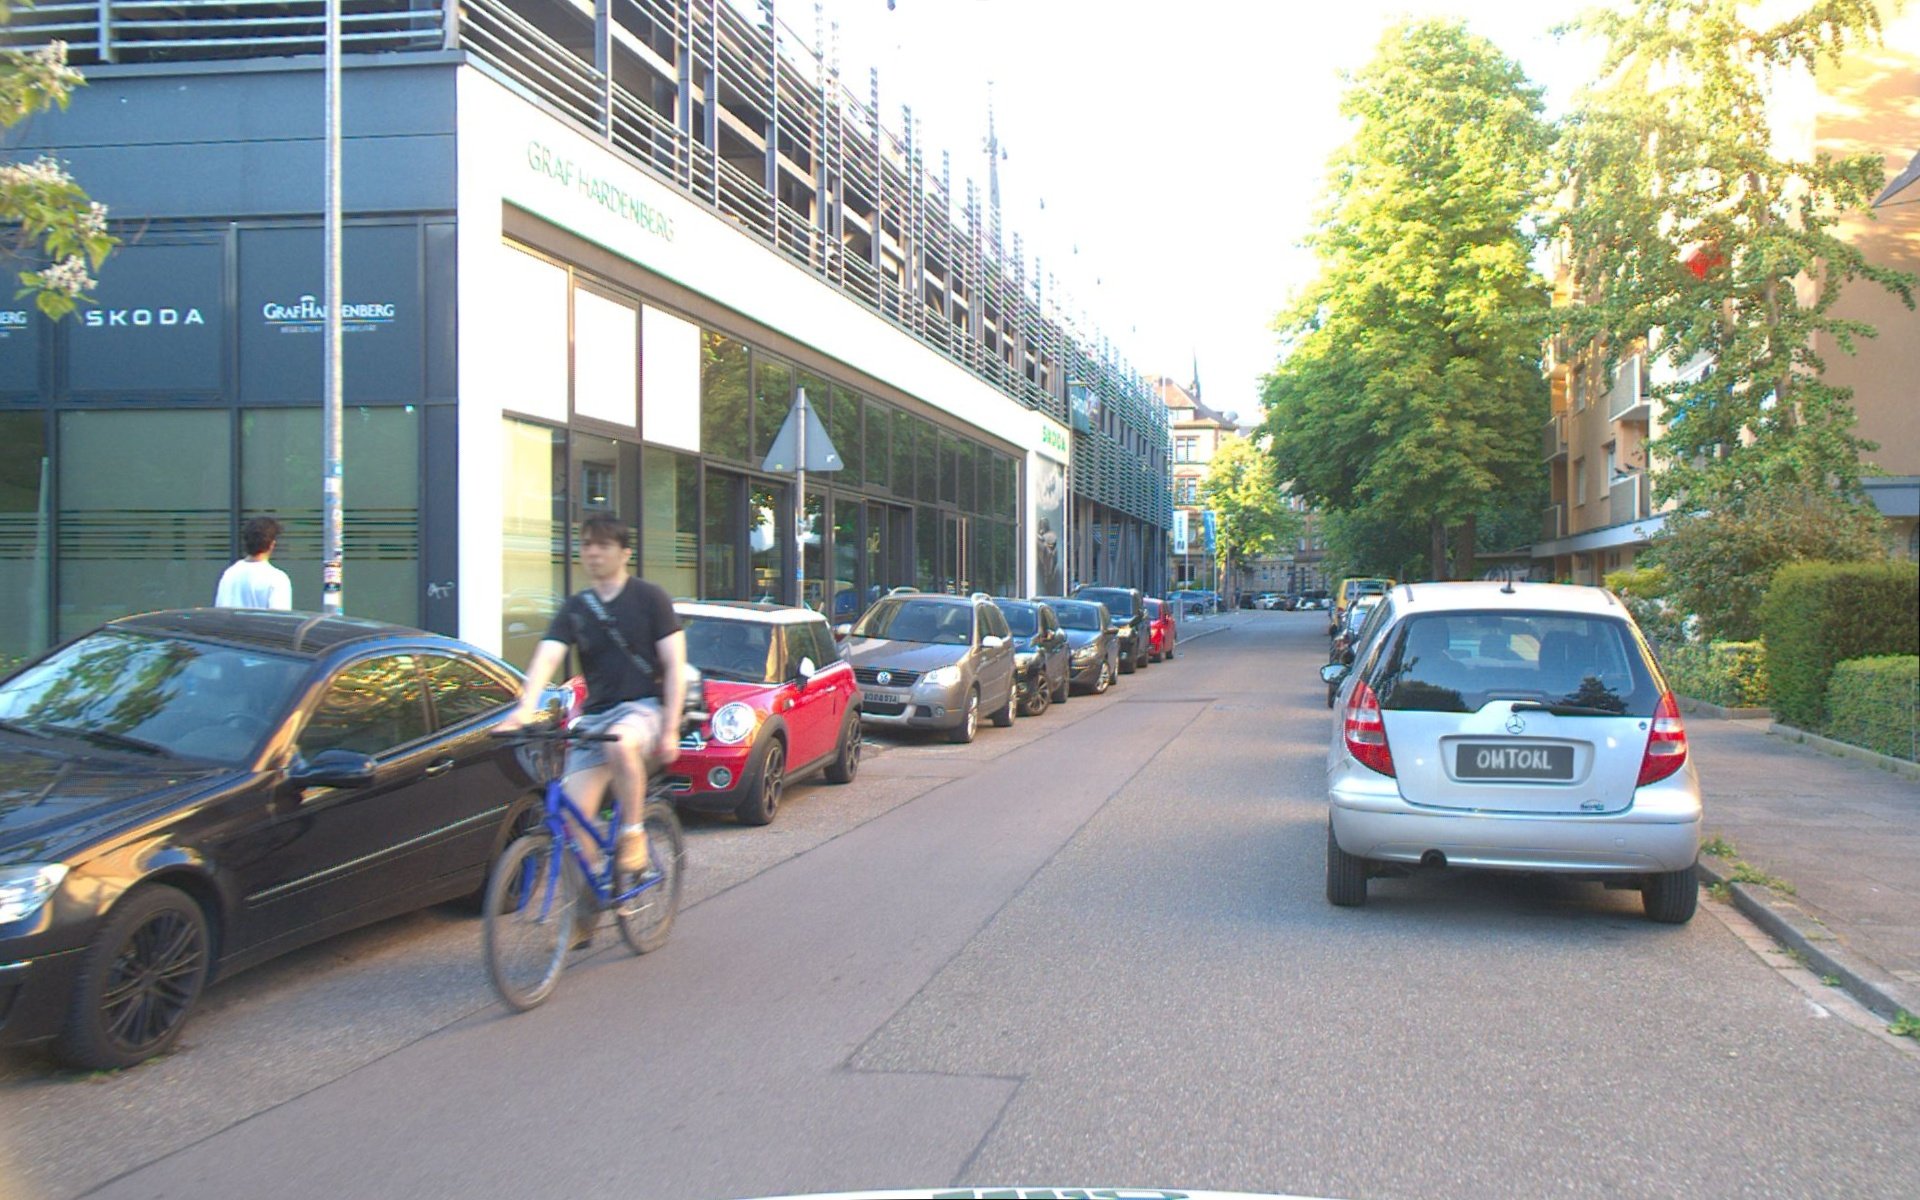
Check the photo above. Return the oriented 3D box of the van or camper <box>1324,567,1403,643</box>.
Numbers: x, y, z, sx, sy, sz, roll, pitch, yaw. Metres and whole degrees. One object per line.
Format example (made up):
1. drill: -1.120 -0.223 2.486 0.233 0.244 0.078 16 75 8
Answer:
1. van or camper: 11.819 0.100 48.745 2.020 2.132 5.095 0 1 11

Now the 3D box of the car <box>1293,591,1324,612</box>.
1. car: 31.602 0.106 149.986 1.645 1.814 3.006 0 1 -11

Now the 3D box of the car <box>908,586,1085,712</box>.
1. car: 0.603 0.604 23.069 1.692 1.427 4.010 5 2 11

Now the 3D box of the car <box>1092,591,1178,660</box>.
1. car: 4.239 0.575 39.708 1.661 1.532 3.794 0 1 12

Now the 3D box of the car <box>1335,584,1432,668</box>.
1. car: 8.632 0.486 33.983 1.753 1.590 4.197 0 1 12

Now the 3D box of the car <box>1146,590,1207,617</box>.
1. car: 14.913 0.236 113.914 4.041 1.646 1.915 2 1 11

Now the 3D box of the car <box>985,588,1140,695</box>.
1. car: 1.834 0.631 28.161 1.896 1.624 4.208 0 1 14

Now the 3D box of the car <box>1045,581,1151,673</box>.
1. car: 2.937 0.497 34.436 1.661 1.787 4.407 0 1 12

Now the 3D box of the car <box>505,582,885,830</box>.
1. car: -1.816 0.656 12.633 1.627 1.435 3.931 5 2 9

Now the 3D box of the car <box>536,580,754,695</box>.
1. car: -4.527 0.486 24.452 1.661 1.541 4.196 0 1 12

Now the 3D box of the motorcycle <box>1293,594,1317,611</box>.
1. motorcycle: 28.915 0.197 138.538 1.891 1.364 0.577 0 1 2

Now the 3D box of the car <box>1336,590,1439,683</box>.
1. car: 7.470 0.589 29.140 1.575 1.487 4.058 0 1 12

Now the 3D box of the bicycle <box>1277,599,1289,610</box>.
1. bicycle: 26.726 0.388 136.779 0.417 0.836 1.457 0 1 34

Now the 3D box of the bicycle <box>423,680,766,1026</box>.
1. bicycle: -1.417 0.951 6.823 0.743 1.116 1.866 -2 0 8

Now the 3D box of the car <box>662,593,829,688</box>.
1. car: -3.718 0.659 29.352 1.661 1.541 3.997 0 1 12

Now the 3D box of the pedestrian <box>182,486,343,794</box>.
1. pedestrian: -4.468 0.242 10.620 0.705 1.911 0.621 0 1 13

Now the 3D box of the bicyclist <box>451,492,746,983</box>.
1. bicyclist: -1.439 0.511 6.759 0.840 1.839 1.017 0 1 9

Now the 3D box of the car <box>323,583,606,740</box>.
1. car: -5.764 0.640 19.737 1.559 1.679 3.880 0 1 12

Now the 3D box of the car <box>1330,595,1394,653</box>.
1. car: 10.584 0.597 43.561 1.572 1.406 4.004 0 1 14

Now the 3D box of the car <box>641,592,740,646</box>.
1. car: -6.871 0.453 42.412 1.389 1.277 3.217 0 1 13

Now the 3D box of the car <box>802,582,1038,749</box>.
1. car: -0.329 0.635 18.578 1.627 1.523 3.888 5 2 13

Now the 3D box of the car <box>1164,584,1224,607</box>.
1. car: 18.708 -0.337 132.480 4.726 1.762 1.922 1 1 6

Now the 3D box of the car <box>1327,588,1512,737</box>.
1. car: 4.973 0.609 18.321 1.771 1.441 3.899 0 1 13

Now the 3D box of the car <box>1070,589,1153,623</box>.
1. car: 7.459 0.307 81.175 3.901 1.614 1.861 0 -2 11

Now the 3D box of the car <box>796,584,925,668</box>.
1. car: -2.074 0.505 35.790 1.661 1.687 4.413 0 1 12

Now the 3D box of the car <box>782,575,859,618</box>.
1. car: -4.345 -0.132 51.947 1.389 1.277 3.530 0 1 13

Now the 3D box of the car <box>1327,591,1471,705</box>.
1. car: 6.230 0.617 23.874 1.771 1.441 4.630 0 1 12

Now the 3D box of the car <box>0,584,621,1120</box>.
1. car: -3.157 0.724 7.151 1.627 1.440 4.418 5 2 11

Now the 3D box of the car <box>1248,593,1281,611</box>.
1. car: 27.005 0.179 146.858 1.624 1.456 4.158 0 1 -9

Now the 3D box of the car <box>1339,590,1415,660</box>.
1. car: 9.684 0.552 38.565 1.575 1.537 3.481 0 1 12

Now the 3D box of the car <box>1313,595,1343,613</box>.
1. car: 32.538 0.370 146.226 1.645 1.552 2.759 0 1 -12

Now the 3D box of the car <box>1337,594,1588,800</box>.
1. car: 4.082 0.695 13.977 1.680 1.444 4.031 0 1 12

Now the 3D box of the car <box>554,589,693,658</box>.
1. car: -7.584 0.505 37.604 1.661 1.459 3.923 0 1 12

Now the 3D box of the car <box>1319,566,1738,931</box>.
1. car: 2.952 0.636 9.352 1.771 1.603 3.888 0 1 12

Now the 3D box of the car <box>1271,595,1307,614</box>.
1. car: 28.299 0.370 142.225 1.625 1.456 3.980 0 1 -11

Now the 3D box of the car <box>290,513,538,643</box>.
1. car: -7.619 -0.298 23.454 1.661 1.687 3.741 0 1 12

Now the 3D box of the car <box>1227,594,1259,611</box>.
1. car: 25.942 0.201 151.619 1.625 1.456 3.885 0 1 -11

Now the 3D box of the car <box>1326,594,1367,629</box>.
1. car: 17.348 0.484 74.432 1.722 1.467 4.009 0 1 12
